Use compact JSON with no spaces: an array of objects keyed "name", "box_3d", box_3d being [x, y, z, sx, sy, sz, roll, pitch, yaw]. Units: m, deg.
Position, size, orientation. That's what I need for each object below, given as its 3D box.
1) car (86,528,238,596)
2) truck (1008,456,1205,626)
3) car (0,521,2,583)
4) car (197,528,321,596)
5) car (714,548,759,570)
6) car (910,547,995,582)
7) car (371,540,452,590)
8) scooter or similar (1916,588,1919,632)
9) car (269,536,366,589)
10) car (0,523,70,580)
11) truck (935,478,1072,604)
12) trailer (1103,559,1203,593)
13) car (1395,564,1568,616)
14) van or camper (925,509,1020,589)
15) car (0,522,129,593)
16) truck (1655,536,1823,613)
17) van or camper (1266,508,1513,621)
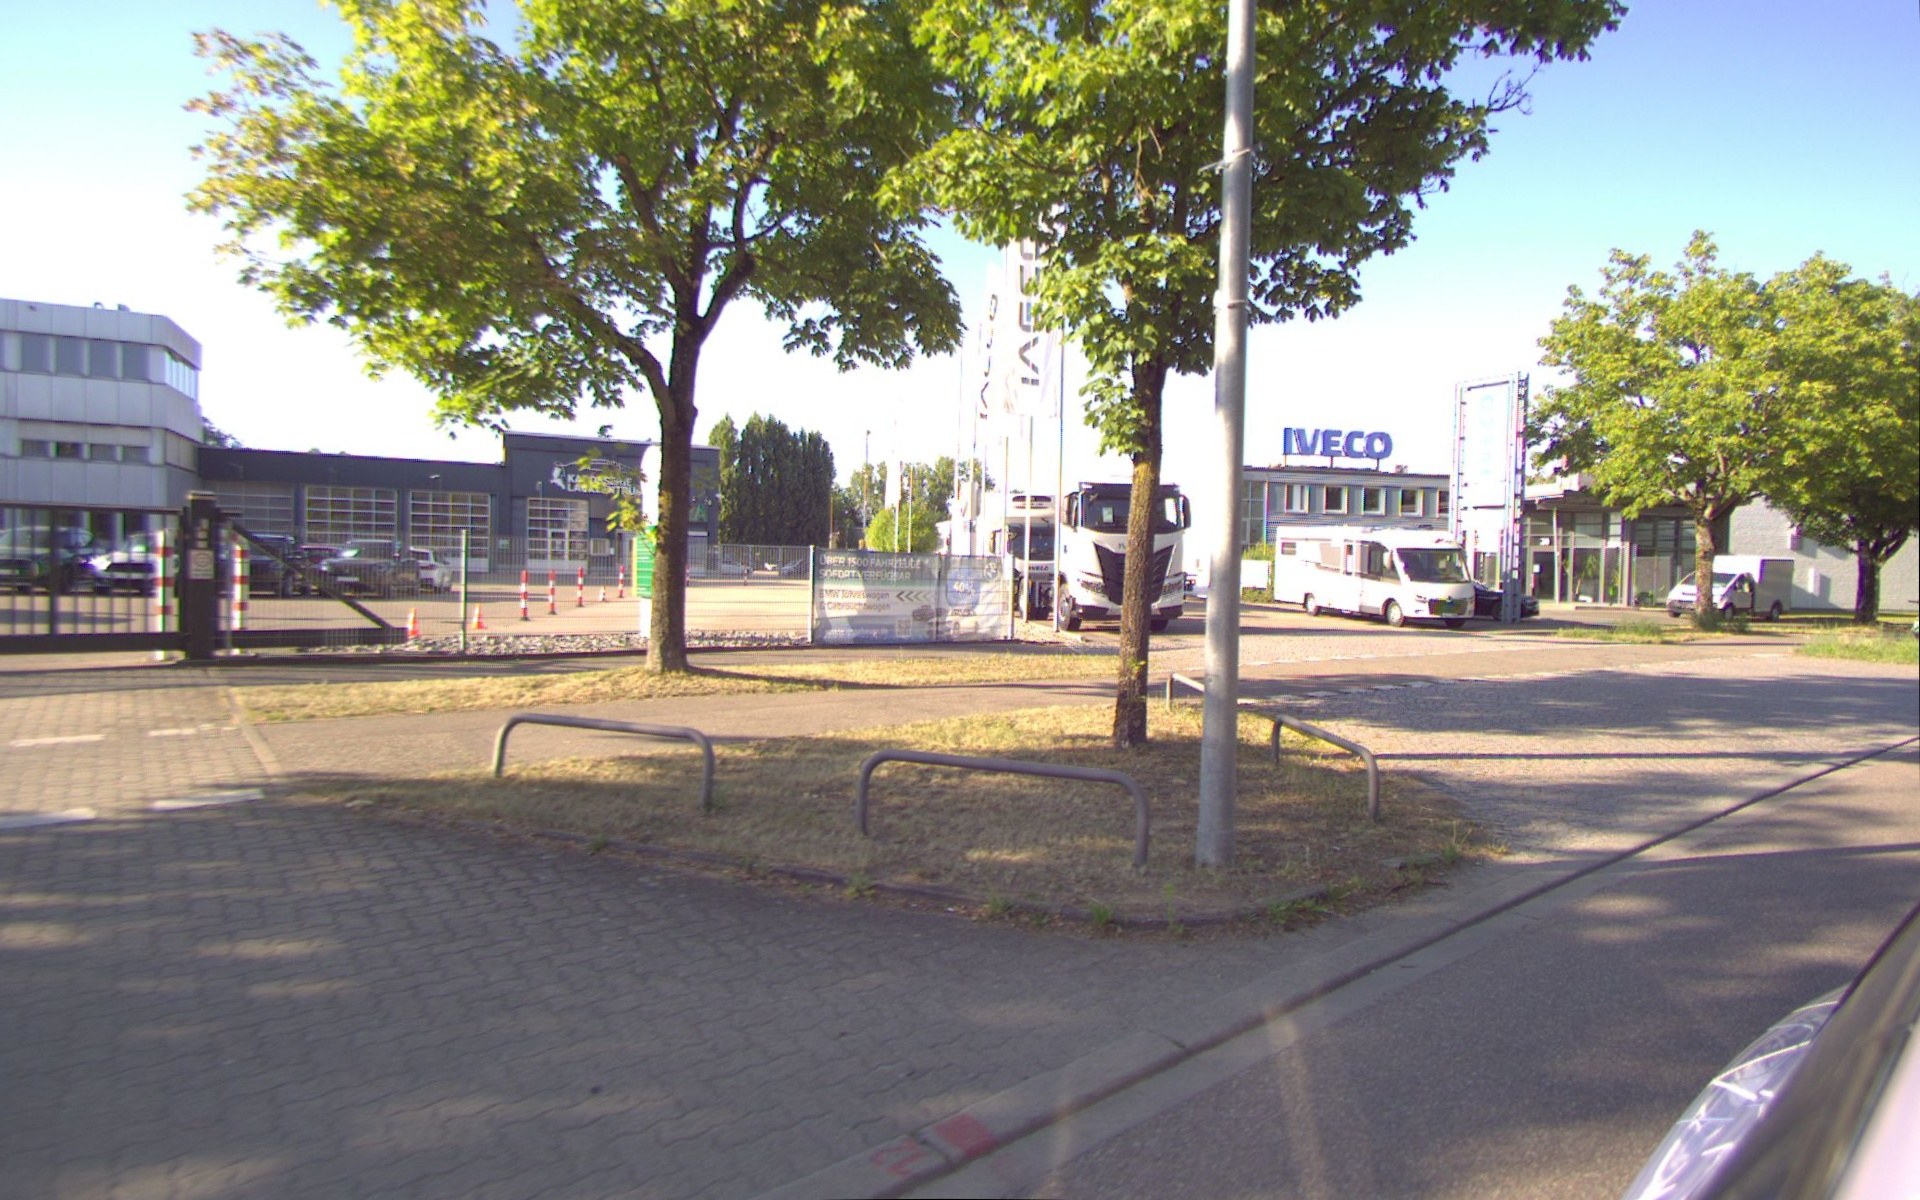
[{"name":"car","box_3d":[-20.486,-1.032,26.189,1.958,1.597,4.010,-2,3,-21]},{"name":"truck","box_3d":[3.297,-1.412,25.477,3.053,3.565,8.265,0,2,-5]},{"name":"car","box_3d":[-24.822,-1.141,23.867,1.865,1.598,4.010,1,2,-21]},{"name":"car","box_3d":[-18.685,-1.030,27.167,1.809,1.598,4.010,3,2,-22]},{"name":"car","box_3d":[-20.664,-3.784,93.507,3.915,1.905,2.005,1,2,-18]},{"name":"car","box_3d":[-0.479,-2.171,62.617,4.946,2.039,2.003,0,-1,-11]},{"name":"car","box_3d":[-18.183,-1.194,33.710,1.809,1.492,4.010,3,2,-22]},{"name":"scooter or similar","box_3d":[27.305,0.289,28.147,1.451,1.211,0.549,1,2,-27]},{"name":"car","box_3d":[-20.296,-1.218,32.127,1.809,1.492,4.010,3,2,-22]},{"name":"car","box_3d":[-27.597,-1.438,29.014,1.809,1.492,4.010,3,2,-22]},{"name":"truck","box_3d":[1.179,-1.989,35.442,3.229,3.689,10.136,1,2,-6]},{"name":"trailer","box_3d":[8.585,-1.122,45.742,2.502,1.338,5.666,1,2,-11]},{"name":"car","box_3d":[17.321,-0.390,33.753,4.794,1.510,1.971,4,3,41]},{"name":"van or camper","box_3d":[0.402,-2.377,47.338,2.364,3.369,8.159,1,2,-14]},{"name":"car","box_3d":[-22.468,-1.076,24.909,1.958,1.598,4.010,1,3,-21]},{"name":"truck","box_3d":[29.890,-0.968,38.828,5.848,2.753,2.552,1,2,-25]},{"name":"van or camper","box_3d":[12.554,-1.109,30.661,2.882,2.935,8.029,1,2,-10]}]
